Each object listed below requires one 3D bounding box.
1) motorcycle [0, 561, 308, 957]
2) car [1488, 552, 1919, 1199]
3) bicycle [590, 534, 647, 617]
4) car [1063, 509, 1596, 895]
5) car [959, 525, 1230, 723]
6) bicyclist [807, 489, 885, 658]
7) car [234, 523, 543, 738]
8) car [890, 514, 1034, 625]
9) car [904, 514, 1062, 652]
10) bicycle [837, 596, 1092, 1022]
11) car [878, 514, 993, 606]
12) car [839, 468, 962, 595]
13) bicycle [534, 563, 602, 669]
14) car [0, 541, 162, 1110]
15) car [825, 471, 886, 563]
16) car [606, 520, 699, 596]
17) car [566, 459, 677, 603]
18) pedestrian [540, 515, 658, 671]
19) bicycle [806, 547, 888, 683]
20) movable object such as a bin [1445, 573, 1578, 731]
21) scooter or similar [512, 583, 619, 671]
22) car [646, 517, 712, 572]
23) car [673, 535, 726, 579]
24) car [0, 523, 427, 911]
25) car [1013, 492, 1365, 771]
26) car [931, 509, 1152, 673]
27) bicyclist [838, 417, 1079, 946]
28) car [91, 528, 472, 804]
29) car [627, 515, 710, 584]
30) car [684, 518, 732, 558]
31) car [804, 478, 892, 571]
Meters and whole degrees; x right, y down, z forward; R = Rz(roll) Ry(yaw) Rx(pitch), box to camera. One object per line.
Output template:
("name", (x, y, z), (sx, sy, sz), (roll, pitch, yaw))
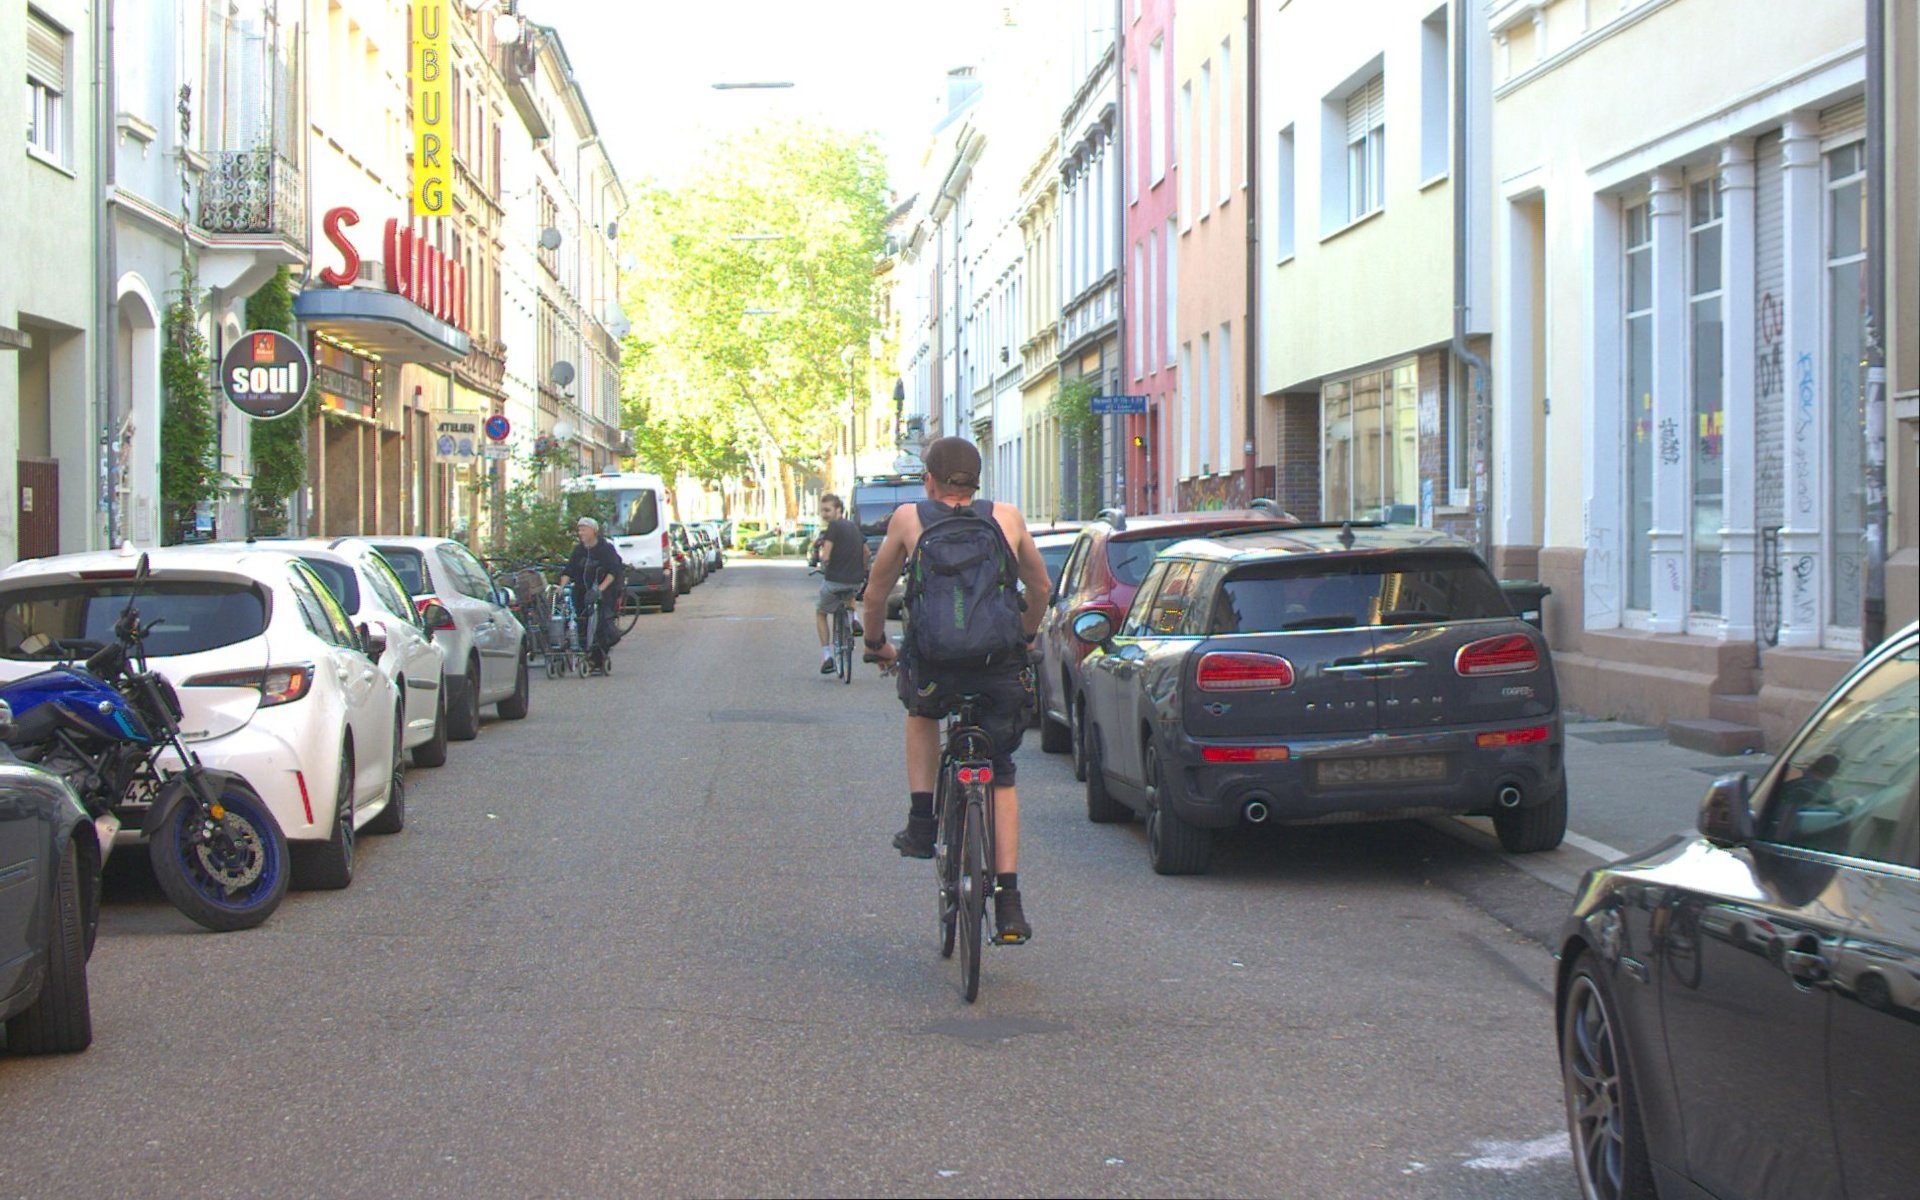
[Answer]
("motorcycle", (-3.538, 0.596, 12.561), (2.146, 1.354, 0.540), (-4, 2, -21))
("car", (2.276, 0.644, 5.556), (1.816, 1.433, 4.791), (-2, 1, -3))
("bicycle", (-4.946, -0.364, 49.643), (0.758, 1.159, 2.275), (1, 1, -7))
("car", (1.584, 0.389, 16.148), (1.816, 1.516, 4.001), (-2, 1, -3))
("car", (0.979, 0.144, 26.957), (1.710, 1.378, 4.001), (-2, 1, -3))
("bicyclist", (-1.112, -0.266, 33.283), (0.702, 1.599, 0.813), (-1, 2, -3))
("car", (-4.215, 0.181, 25.871), (1.672, 1.437, 3.754), (-2, 1, 0))
("car", (-0.012, -0.432, 47.235), (1.710, 1.389, 4.001), (-2, 1, -3))
("car", (0.237, -0.227, 41.790), (1.620, 1.545, 4.001), (-2, 1, -3))
("bicycle", (-0.028, 0.620, 11.366), (0.702, 1.204, 2.342), (1, 1, -3))
("car", (-0.450, -0.686, 58.610), (1.710, 1.442, 4.001), (-2, 1, -3))
("car", (-1.337, -1.470, 74.222), (2.307, 2.529, 6.771), (-2, 1, -3))
("bicycle", (-4.275, 0.159, 37.430), (0.699, 1.102, 2.275), (1, 1, -7))
("car", (-3.266, 0.625, 8.221), (1.710, 1.378, 4.356), (-2, 2, -1))
("car", (-4.502, -3.499, 146.973), (2.307, 3.755, 6.771), (-2, 1, -3))
("car", (-6.197, -0.852, 69.546), (1.672, 1.437, 4.166), (-2, 1, -3))
("car", (-6.129, -1.264, 62.515), (1.909, 2.488, 4.166), (-1, 1, -5))
("pedestrian", (-3.700, -0.078, 35.227), (0.897, 1.573, 0.773), (1, 1, -39))
("bicycle", (-1.110, 0.124, 33.388), (0.702, 1.203, 2.343), (-1, 2, -3))
("movable object such as a bin", (3.947, 0.367, 24.644), (0.807, 1.071, 0.677), (-3, 1, 2))
("scooter or similar", (-4.015, 0.268, 34.966), (0.768, 0.870, 0.773), (1, 1, -39))
("car", (-7.781, -1.540, 95.562), (1.672, 1.437, 4.166), (-2, 1, -3))
("car", (-8.945, -1.487, 118.296), (1.672, 1.437, 4.166), (-2, 1, -3))
("car", (-3.398, 0.426, 15.251), (1.672, 1.437, 4.166), (-2, 1, -4))
("car", (1.358, 0.151, 21.893), (1.710, 1.551, 4.001), (-2, 1, -3))
("car", (0.703, -0.112, 32.194), (1.710, 1.378, 4.001), (-2, 1, -3))
("bicyclist", (-0.024, 0.243, 11.197), (0.702, 1.627, 1.090), (1, 1, -3))
("car", (-3.953, 0.330, 20.569), (1.672, 1.437, 3.768), (-2, 1, -3))
("car", (-6.507, -1.135, 77.040), (1.672, 1.437, 4.166), (-2, 1, -3))
("car", (-9.581, -2.369, 130.848), (1.672, 1.437, 4.166), (-2, 1, -3))
("car", (-3.290, -2.169, 99.606), (2.307, 2.529, 6.771), (-2, 1, -3))
